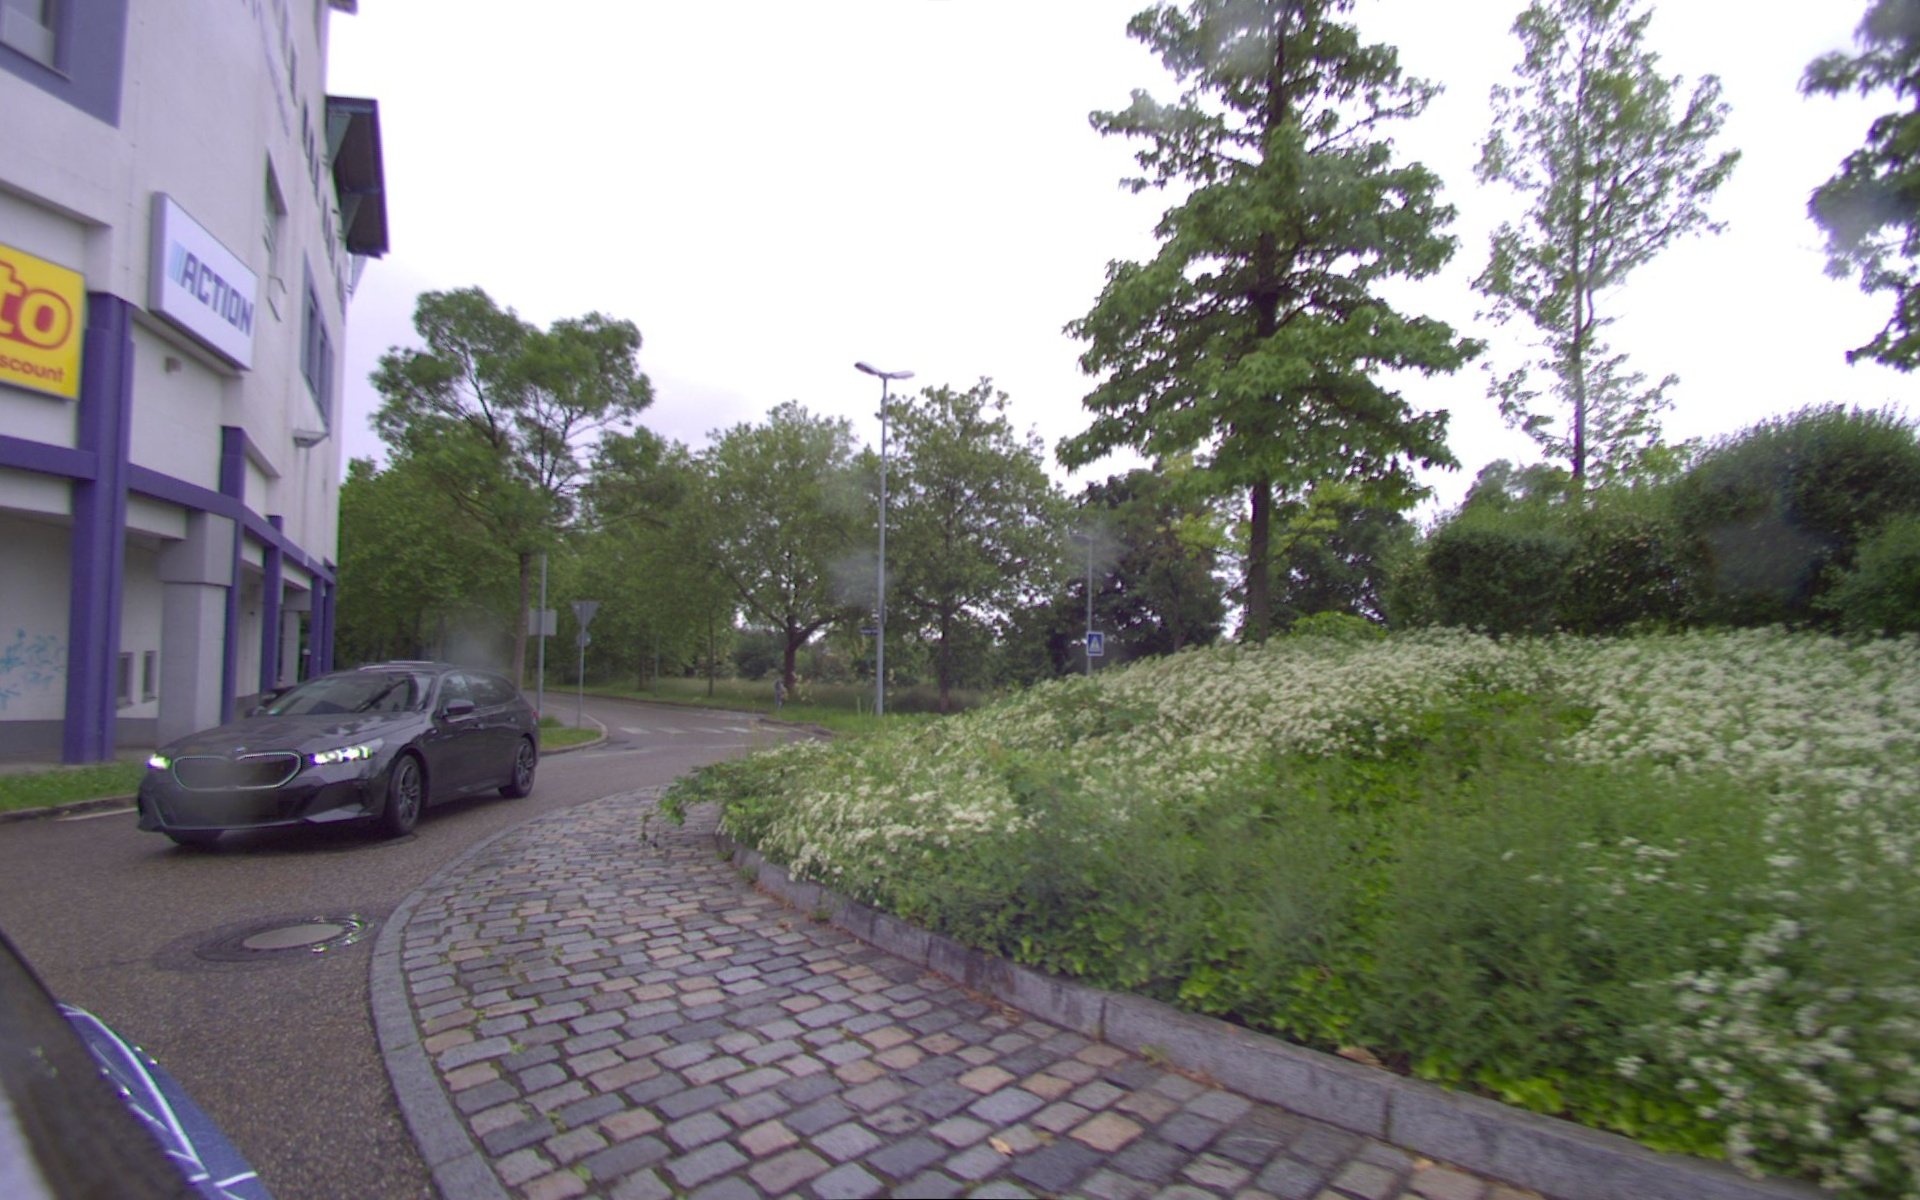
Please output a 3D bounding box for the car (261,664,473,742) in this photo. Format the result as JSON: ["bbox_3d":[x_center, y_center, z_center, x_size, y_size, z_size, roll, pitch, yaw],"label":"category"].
[{"bbox_3d":[-14.557,2.523,25.069,4.316,1.773,1.834,2,-7,-30],"label":"car"}]

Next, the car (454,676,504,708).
[{"bbox_3d":[-27.191,5.185,57.131,1.777,1.614,4.382,5,-6,-34],"label":"car"}]

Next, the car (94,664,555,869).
[{"bbox_3d":[-5.759,1.470,10.106,1.817,1.506,4.906,0,-5,-5],"label":"car"}]
